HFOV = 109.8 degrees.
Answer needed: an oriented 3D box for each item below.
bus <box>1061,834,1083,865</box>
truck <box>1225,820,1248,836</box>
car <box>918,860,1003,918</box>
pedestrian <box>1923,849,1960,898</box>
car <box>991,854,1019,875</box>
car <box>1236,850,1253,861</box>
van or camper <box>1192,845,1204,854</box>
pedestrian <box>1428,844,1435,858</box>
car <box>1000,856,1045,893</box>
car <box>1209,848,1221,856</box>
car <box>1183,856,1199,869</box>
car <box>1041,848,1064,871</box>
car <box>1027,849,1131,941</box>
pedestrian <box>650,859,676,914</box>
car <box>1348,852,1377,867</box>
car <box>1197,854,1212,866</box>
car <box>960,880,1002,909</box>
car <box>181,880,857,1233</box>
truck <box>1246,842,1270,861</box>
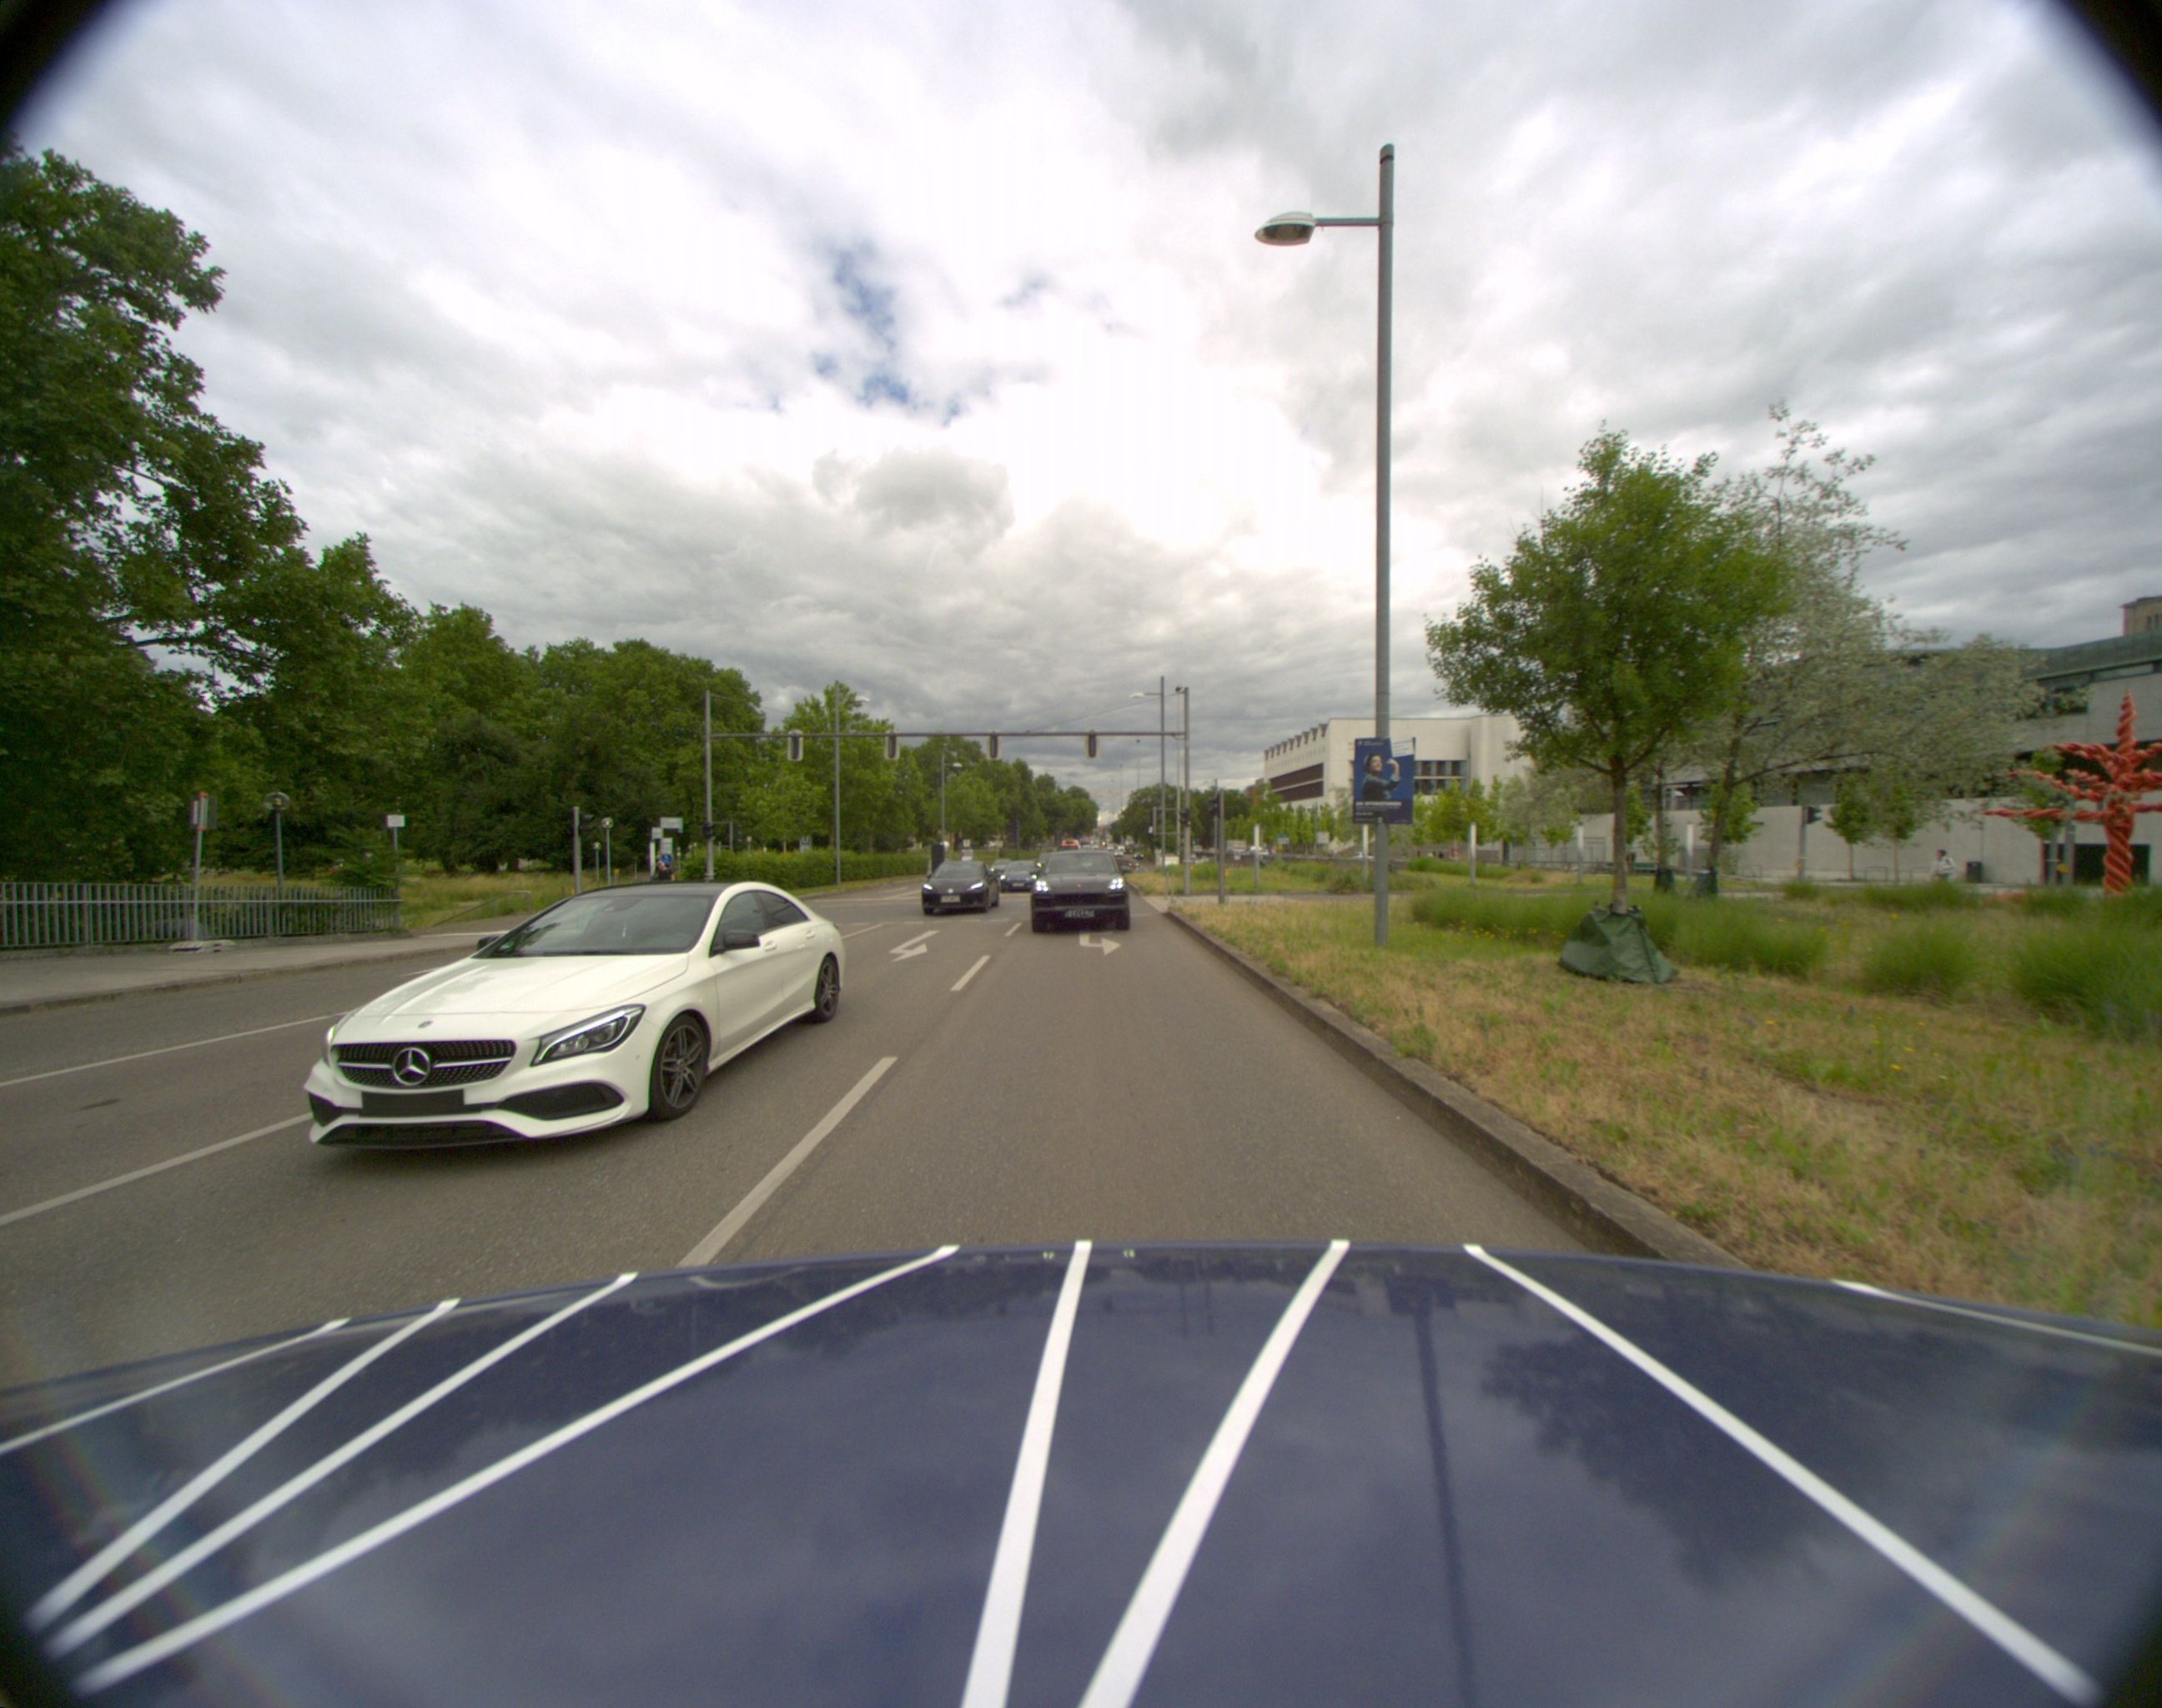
[{"bbox_3d":[-1.253,-0.712,110.452,3.043,4.327,8.748,-1,1,0],"label":"bus"},{"bbox_3d":[30.857,-5.195,151.052,3.239,2.771,7.254,-1,0,2],"label":"truck"},{"bbox_3d":[-3.505,0.970,22.822,1.829,1.515,4.120,-1,0,1],"label":"car"},{"bbox_3d":[30.433,0.679,26.869,0.541,1.723,0.663,-1,1,1],"label":"pedestrian"},{"bbox_3d":[-6.037,0.841,60.932,1.723,1.528,4.001,-1,1,1],"label":"car"},{"bbox_3d":[28.771,0.230,133.865,1.998,1.805,4.258,-1,0,1],"label":"car"},{"bbox_3d":[26.325,-1.053,171.590,1.998,2.002,4.557,-1,0,1],"label":"van or camper"},{"bbox_3d":[36.556,-0.301,79.294,0.428,1.513,0.461,-2,1,-6],"label":"pedestrian"},{"bbox_3d":[-2.682,0.971,35.719,1.573,1.527,4.003,-4,-1,2],"label":"car"},{"bbox_3d":[27.276,-0.348,154.460,1.723,1.565,4.271,-1,0,2],"label":"car"},{"bbox_3d":[18.538,1.413,128.139,1.998,2.002,4.332,2,0,1],"label":"car"},{"bbox_3d":[-2.375,0.429,64.101,1.723,1.851,4.430,-1,1,1],"label":"car"},{"bbox_3d":[-0.005,0.759,16.699,1.937,1.668,4.679,-1,1,1],"label":"car"},{"bbox_3d":[-13.800,1.062,25.088,0.479,1.754,0.620,-1,1,-2],"label":"pedestrian"},{"bbox_3d":[31.989,0.615,86.585,1.723,1.565,4.613,-1,0,2],"label":"car"},{"bbox_3d":[21.820,0.962,134.094,1.998,2.002,4.000,2,0,1],"label":"car"},{"bbox_3d":[-5.899,2.410,45.410,1.867,1.412,4.000,-2,1,1],"label":"car"},{"bbox_3d":[-3.293,1.032,5.810,1.723,1.415,4.505,-1,1,1],"label":"car"},{"bbox_3d":[28.586,-0.385,122.762,2.470,2.800,7.079,-1,0,2],"label":"truck"}]
